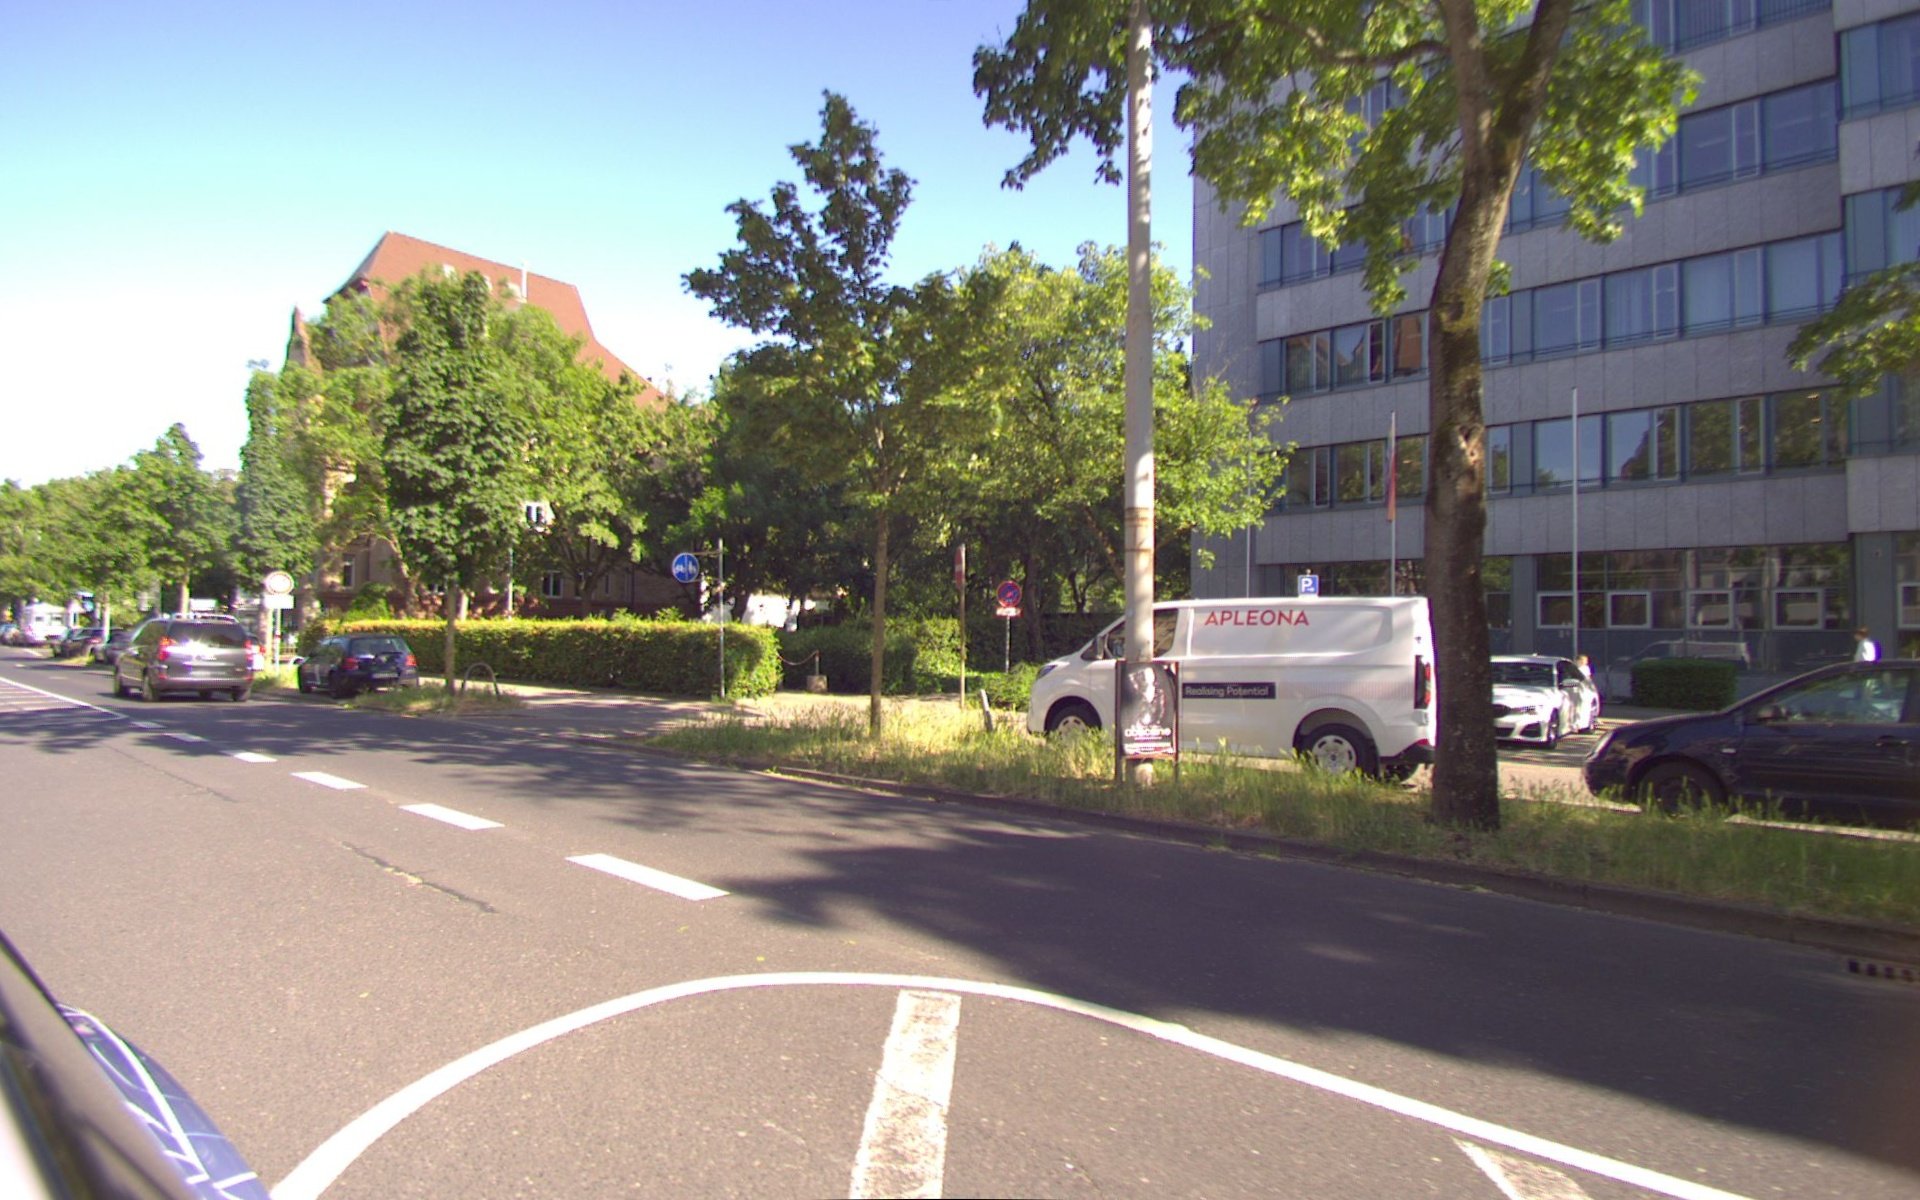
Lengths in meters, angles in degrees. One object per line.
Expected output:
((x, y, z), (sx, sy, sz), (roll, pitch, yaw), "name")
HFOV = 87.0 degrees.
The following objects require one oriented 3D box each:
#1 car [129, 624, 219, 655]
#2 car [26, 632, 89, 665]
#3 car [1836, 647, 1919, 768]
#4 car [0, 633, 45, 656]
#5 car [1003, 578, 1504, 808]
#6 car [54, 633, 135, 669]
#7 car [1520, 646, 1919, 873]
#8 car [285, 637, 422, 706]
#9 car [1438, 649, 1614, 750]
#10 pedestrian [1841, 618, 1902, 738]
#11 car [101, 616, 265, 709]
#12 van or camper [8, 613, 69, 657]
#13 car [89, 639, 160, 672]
((-47.916, 2.380, 61.797), (1.977, 1.683, 4.134), (-2, 0, 8), "car")
((-45.230, 2.388, 50.664), (4.719, 1.438, 1.836), (-2, 1, 42), "car")
((14.205, 1.488, 14.800), (1.859, 1.534, 4.263), (-2, -2, 38), "car")
((-64.097, 3.043, 69.083), (4.659, 1.468, 1.676), (-2, -5, 40), "car")
((3.178, 0.965, 11.659), (5.190, 2.092, 1.961), (-1, -5, 39), "car")
((-40.308, 2.350, 47.108), (4.697, 1.505, 1.839), (-1, 0, 37), "car")
((7.046, 1.165, 7.962), (4.318, 1.534, 1.762), (-2, -2, 43), "car")
((-14.405, 1.623, 23.952), (4.071, 1.470, 1.693), (-2, -2, 43), "car")
((10.124, 1.641, 17.924), (1.936, 1.453, 4.567), (-2, -2, 39), "car")
((16.577, 1.393, 18.416), (0.792, 2.109, 0.763), (-1, -1, 43), "pedestrian")
((-17.037, 1.336, 22.116), (4.606, 1.839, 1.837), (-2, -5, 40), "car")
((-59.810, 2.285, 65.650), (6.085, 2.760, 2.193), (-2, -3, 41), "van or camper")
((-34.608, 2.248, 41.895), (4.013, 1.265, 1.660), (-2, -2, 42), "car")
